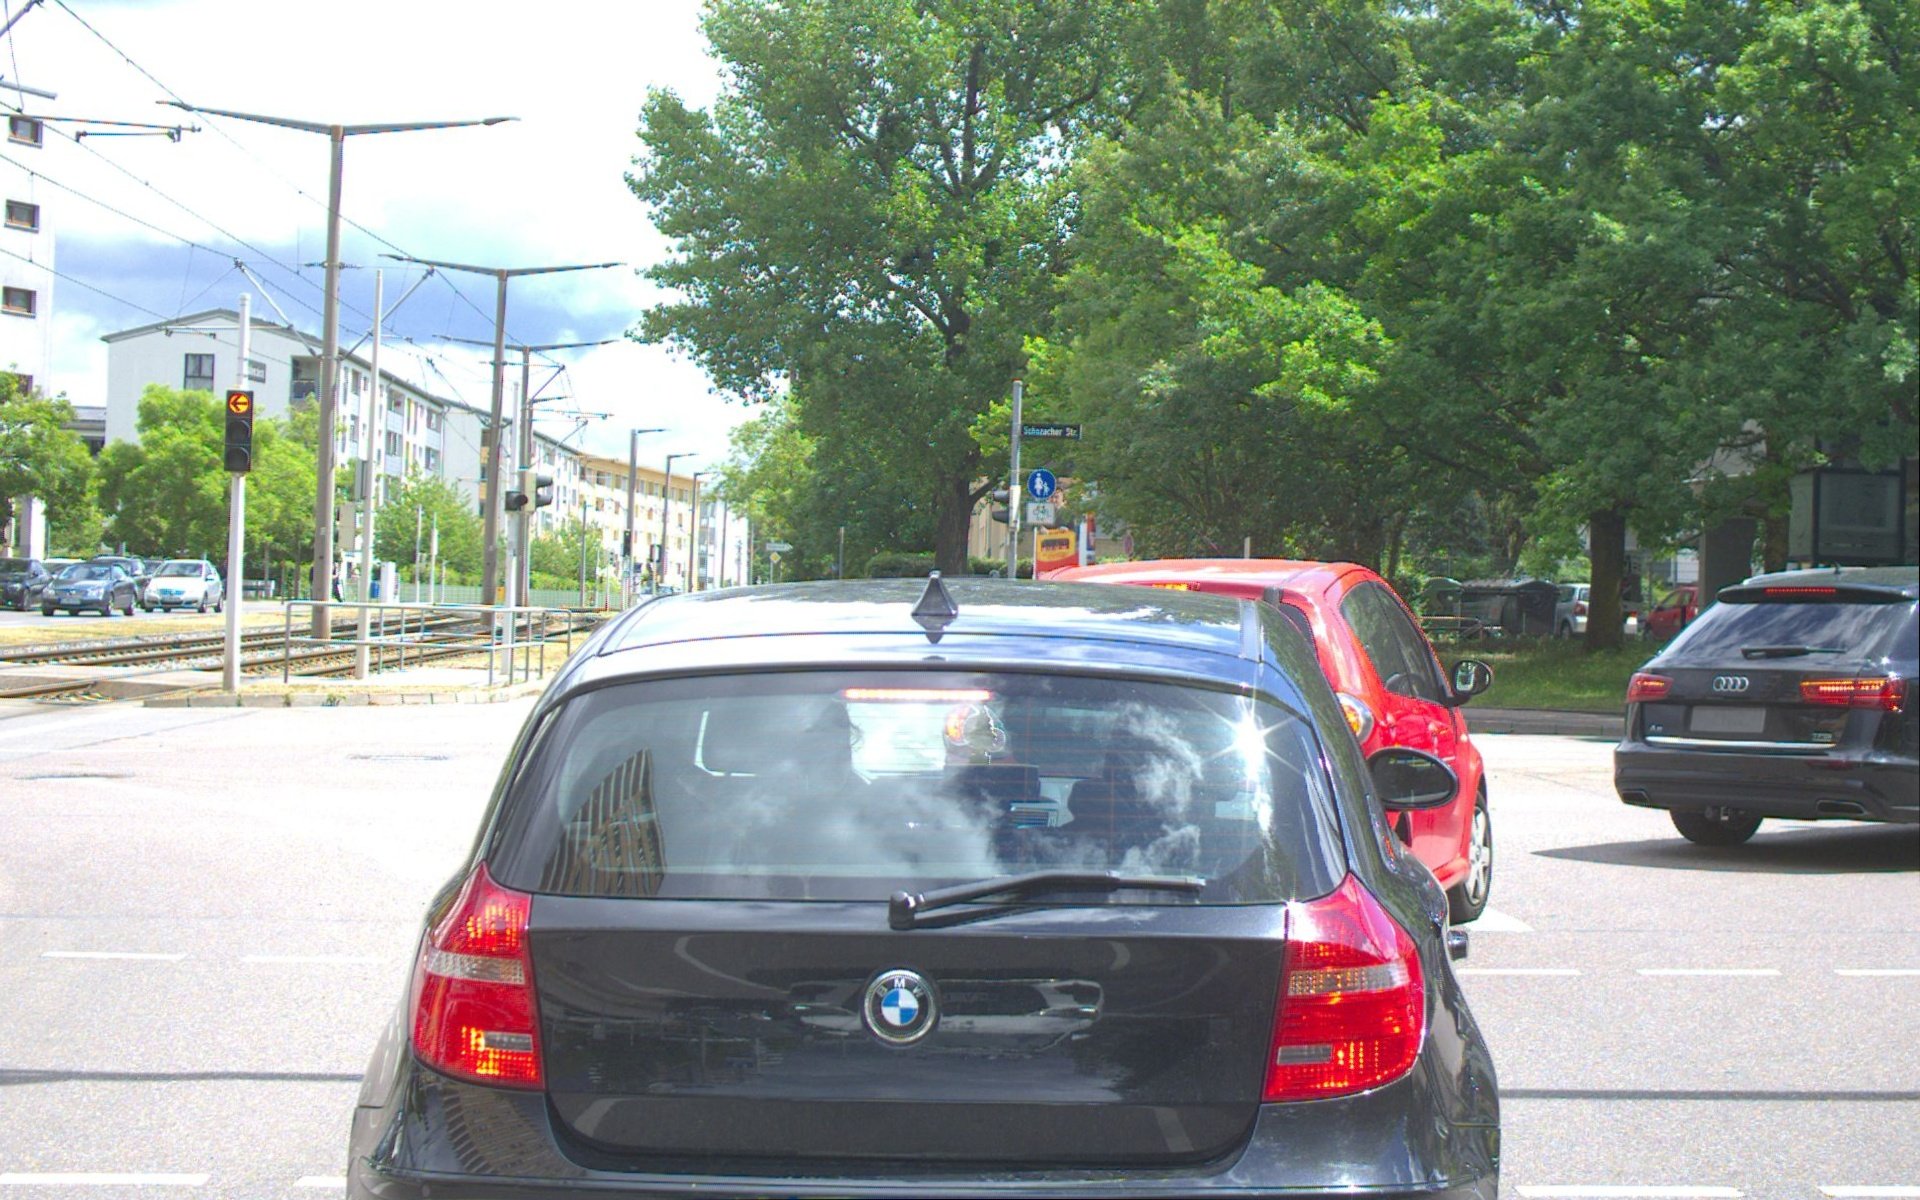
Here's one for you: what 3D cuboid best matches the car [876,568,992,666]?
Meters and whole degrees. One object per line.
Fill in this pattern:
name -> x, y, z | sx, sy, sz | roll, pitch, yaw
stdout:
car -> -0.470, 0.310, 62.088 | 1.993, 1.678, 4.000 | 1, 0, -1

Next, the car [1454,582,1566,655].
car -> 12.475, 0.398, 78.174 | 1.630, 1.567, 4.033 | 1, 1, -4

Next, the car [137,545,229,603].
car -> -23.179, -0.787, 102.648 | 1.937, 1.687, 3.873 | 1, 1, -1

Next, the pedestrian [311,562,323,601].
pedestrian -> -27.449, -0.790, 146.791 | 0.452, 1.631, 0.480 | 1, 1, -5

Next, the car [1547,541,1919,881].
car -> 5.301, 0.503, 17.884 | 4.508, 1.548, 1.999 | 0, 1, -41

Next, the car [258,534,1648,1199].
car -> -0.038, 0.638, 6.378 | 1.752, 1.482, 4.000 | 1, 1, -1

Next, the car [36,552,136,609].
car -> -22.569, -0.500, 88.938 | 1.634, 1.395, 4.494 | 2, 0, -3

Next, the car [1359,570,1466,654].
car -> 10.176, 0.246, 77.519 | 1.630, 1.804, 4.033 | 1, 1, -4

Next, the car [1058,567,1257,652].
car -> 4.376, 0.212, 76.161 | 3.986, 1.817, 1.779 | 1, 1, -23

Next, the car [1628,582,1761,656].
car -> 17.026, 0.423, 79.844 | 1.730, 1.589, 4.001 | 1, 1, -8

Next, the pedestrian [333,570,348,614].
pedestrian -> -23.203, -0.313, 128.738 | 0.478, 1.631, 0.454 | 1, 1, -1

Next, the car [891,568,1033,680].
car -> 0.014, 0.364, 54.641 | 2.152, 1.678, 4.000 | 1, 0, -1

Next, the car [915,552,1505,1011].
car -> 1.040, 0.560, 12.739 | 1.543, 1.436, 3.194 | 1, 1, 16

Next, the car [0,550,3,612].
car -> -22.532, -0.382, 76.446 | 1.629, 1.409, 4.255 | 0, 2, -4

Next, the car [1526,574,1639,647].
car -> 14.339, 0.219, 79.405 | 1.630, 1.589, 4.001 | 1, 1, -4

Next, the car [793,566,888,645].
car -> -2.661, 0.100, 77.315 | 1.993, 1.678, 4.000 | 1, 1, -1
